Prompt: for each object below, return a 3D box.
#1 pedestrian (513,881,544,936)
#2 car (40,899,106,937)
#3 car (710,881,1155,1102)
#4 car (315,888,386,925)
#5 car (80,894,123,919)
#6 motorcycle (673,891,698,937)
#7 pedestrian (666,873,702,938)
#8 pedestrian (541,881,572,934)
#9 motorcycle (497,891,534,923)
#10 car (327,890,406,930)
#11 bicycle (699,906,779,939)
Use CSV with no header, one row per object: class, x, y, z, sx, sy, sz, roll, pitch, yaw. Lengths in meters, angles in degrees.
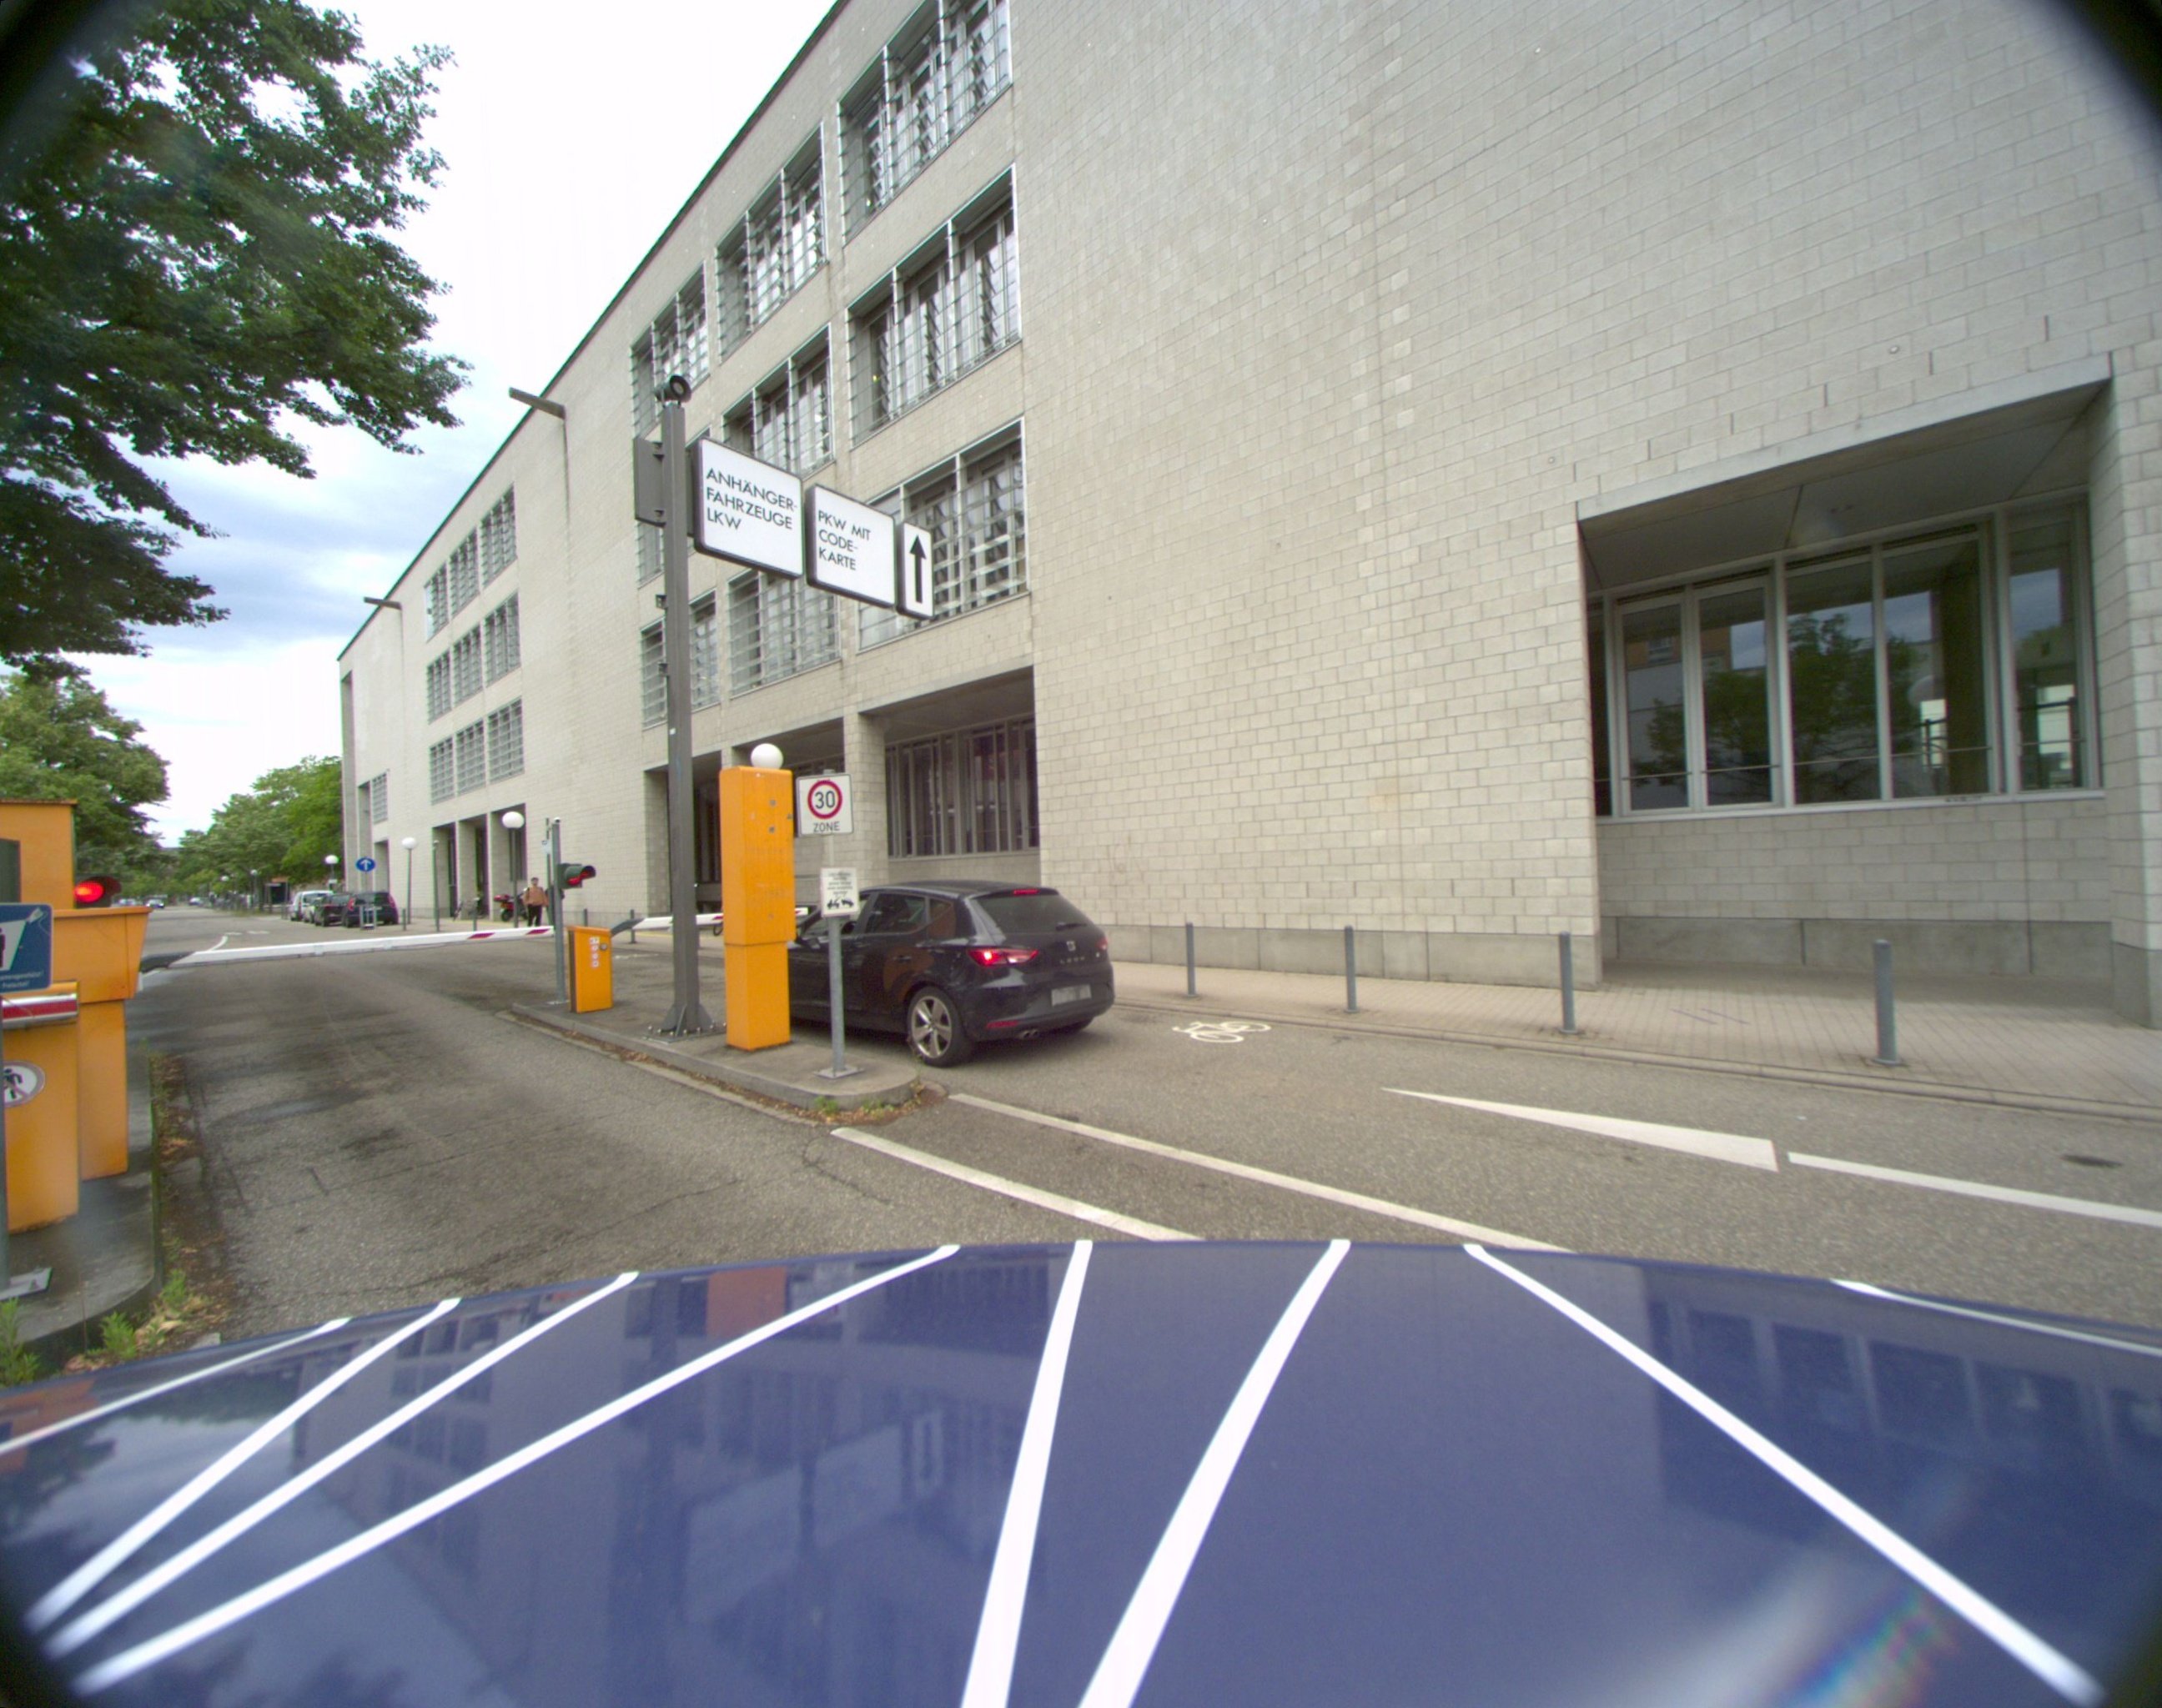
pedestrian,-17.792,1.751,24.452,0.488,1.704,0.700,-2,-1,44
car,-48.006,2.997,36.247,3.989,1.591,1.779,-2,-1,38
car,-1.556,1.012,7.069,4.118,1.410,1.792,-2,-1,39
car,-36.782,2.620,38.225,4.416,1.613,2.004,-3,1,40
car,-69.804,3.711,54.150,3.989,1.591,1.779,-2,-1,37
motorcycle,-11.381,1.695,21.876,0.568,1.141,2.212,0,0,-26
pedestrian,-10.714,1.378,20.506,0.573,1.704,0.614,-2,1,38
pedestrian,-17.384,1.750,25.187,0.488,1.704,0.700,-2,-1,37
motorcycle,-24.108,2.240,32.432,0.763,1.141,2.657,0,0,-26
car,-33.224,2.604,35.299,4.416,1.613,2.004,-3,0,39
bicycle,-8.921,1.768,19.874,0.491,0.695,1.907,1,0,36
